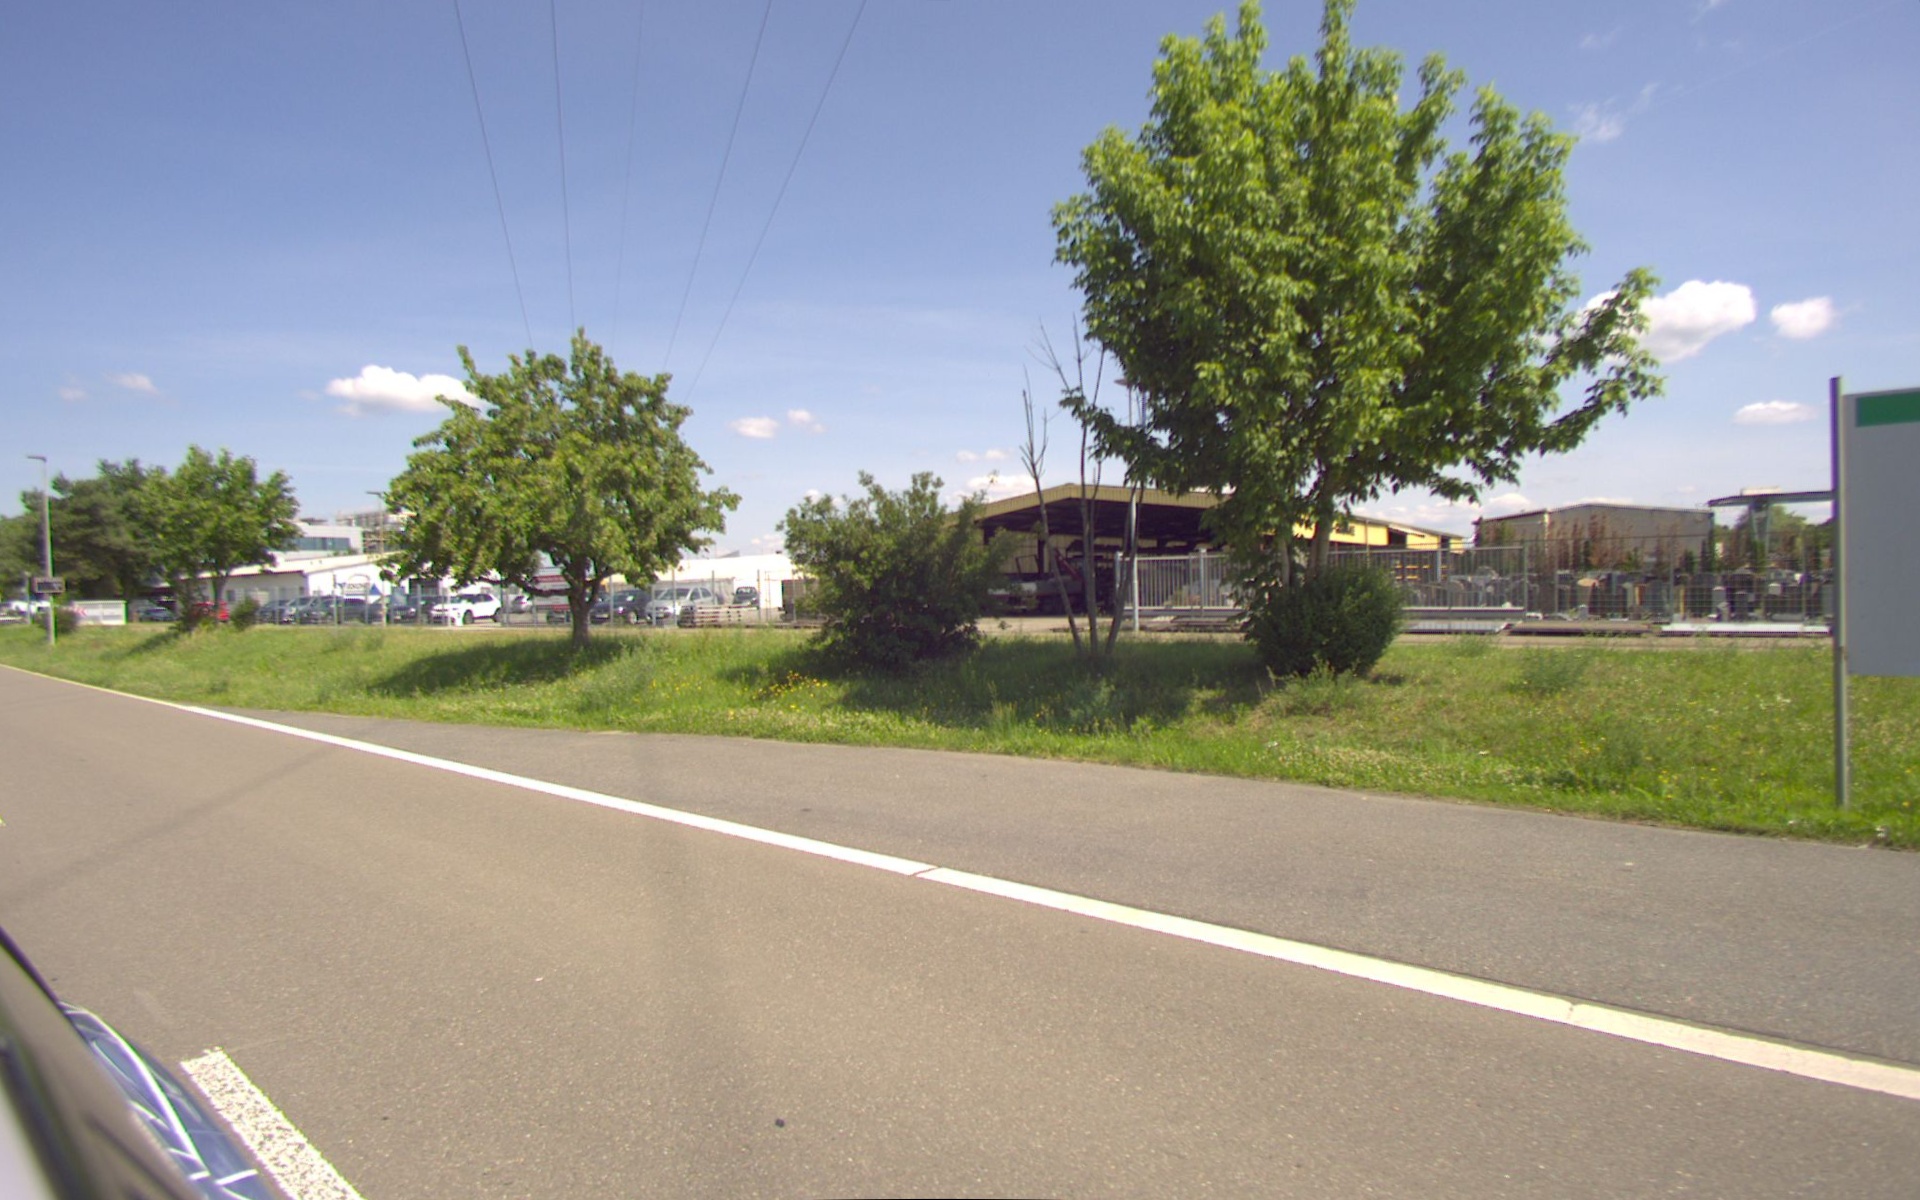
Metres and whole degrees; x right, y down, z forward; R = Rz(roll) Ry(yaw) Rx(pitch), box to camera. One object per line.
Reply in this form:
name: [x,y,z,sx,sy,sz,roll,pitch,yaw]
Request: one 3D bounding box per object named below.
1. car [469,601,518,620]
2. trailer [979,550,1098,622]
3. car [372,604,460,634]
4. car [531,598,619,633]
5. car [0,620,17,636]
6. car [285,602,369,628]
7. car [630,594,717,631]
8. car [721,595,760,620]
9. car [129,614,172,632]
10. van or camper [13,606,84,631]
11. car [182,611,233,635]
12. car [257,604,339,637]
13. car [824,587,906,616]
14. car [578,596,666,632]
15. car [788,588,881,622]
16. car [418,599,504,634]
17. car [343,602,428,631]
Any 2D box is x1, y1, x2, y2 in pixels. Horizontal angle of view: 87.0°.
car: [-37.610,0.863,81.557,3.993,1.444,1.902,-2,1,37]
trailer: [3.436,-0.618,43.164,2.733,2.846,5.518,-2,1,33]
car: [-27.660,0.943,51.594,1.921,1.320,3.989,-2,1,9]
car: [-16.599,0.630,43.839,1.920,1.320,3.992,-2,1,7]
car: [-96.982,2.885,101.052,2.000,1.530,3.944,-1,1,42]
car: [-35.595,0.822,57.031,1.920,1.320,3.992,-2,1,7]
car: [-11.459,0.473,40.755,1.920,1.320,3.992,-2,1,7]
car: [-14.764,0.475,67.978,1.909,1.585,4.013,-2,1,-21]
car: [-69.887,1.991,87.351,4.511,1.418,1.974,-1,1,39]
van or camper: [-101.559,2.033,112.879,5.492,2.516,2.085,-2,1,-27]
car: [-59.220,1.813,79.648,4.219,1.757,1.977,-1,1,35]
car: [-38.314,1.145,58.706,1.703,1.717,4.100,-2,1,7]
car: [-4.979,0.068,53.345,3.953,1.320,1.839,-2,1,8]
car: [-13.918,0.540,41.925,1.920,1.320,3.992,-2,1,7]
car: [-6.225,0.243,50.611,4.200,1.497,1.995,-2,1,9]
car: [-24.606,0.786,50.085,1.920,1.552,3.992,-2,1,7]
car: [-30.566,0.848,53.968,1.920,1.320,3.992,-2,1,7]
